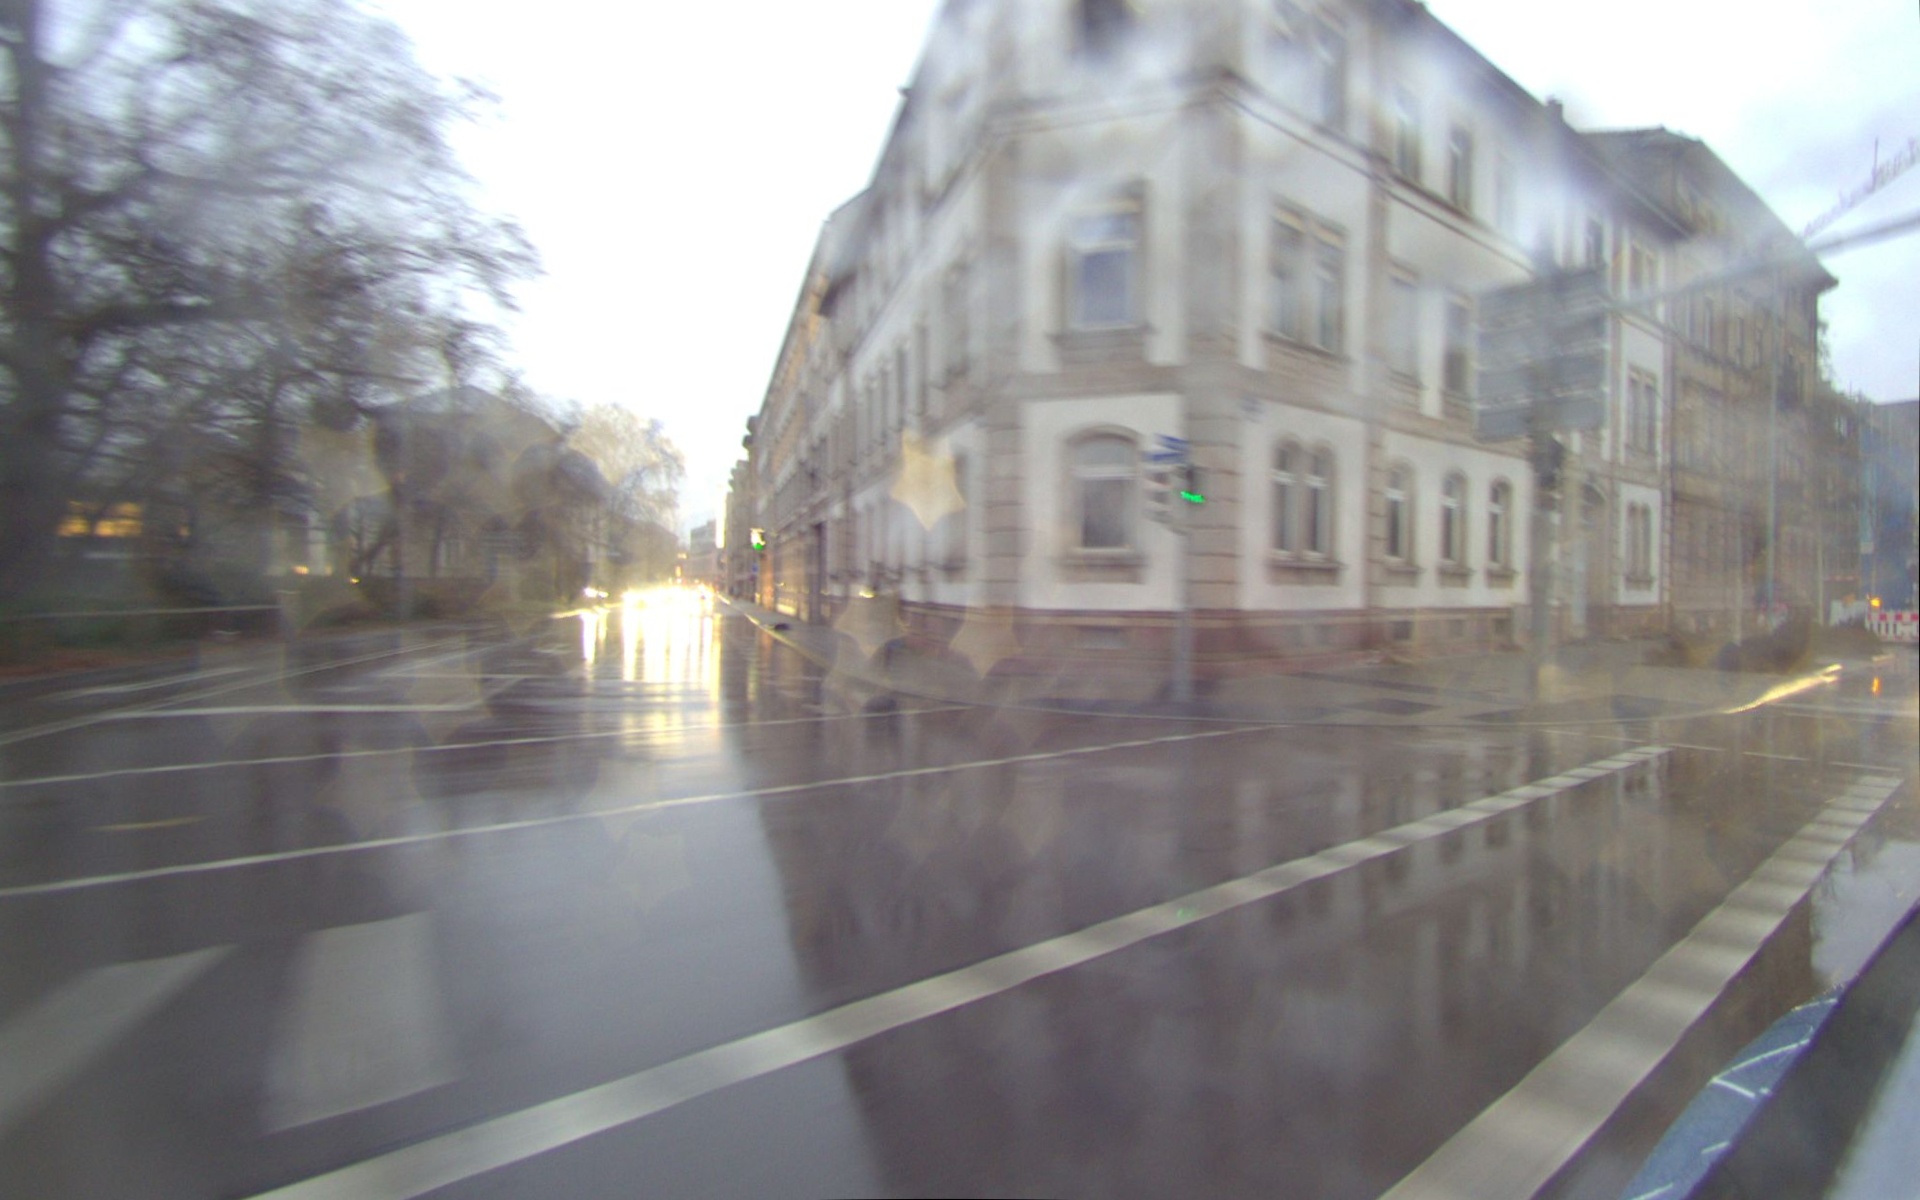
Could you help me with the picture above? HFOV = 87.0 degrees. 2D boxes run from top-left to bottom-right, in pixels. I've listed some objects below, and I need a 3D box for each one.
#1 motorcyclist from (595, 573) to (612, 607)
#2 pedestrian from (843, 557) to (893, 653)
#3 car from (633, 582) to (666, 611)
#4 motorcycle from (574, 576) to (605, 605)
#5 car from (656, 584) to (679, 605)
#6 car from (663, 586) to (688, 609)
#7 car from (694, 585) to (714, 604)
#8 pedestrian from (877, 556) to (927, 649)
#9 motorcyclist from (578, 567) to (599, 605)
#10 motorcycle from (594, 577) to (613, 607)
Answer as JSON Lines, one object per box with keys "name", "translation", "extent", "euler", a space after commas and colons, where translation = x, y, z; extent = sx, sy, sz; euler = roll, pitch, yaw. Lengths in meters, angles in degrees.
{"name": "motorcyclist", "translation": [-22.729, -0.636, 64.606], "extent": [0.928, 2.195, 1.198], "euler": [-1, 0, -17]}
{"name": "pedestrian", "translation": [-1.987, 0.108, 21.768], "extent": [0.849, 2.006, 0.980], "euler": [-1, 0, -18]}
{"name": "car", "translation": [-22.769, -0.231, 74.278], "extent": [1.958, 2.039, 4.007], "euler": [-1, 0, -12]}
{"name": "motorcycle", "translation": [-20.785, -0.524, 56.806], "extent": [0.929, 1.579, 3.531], "euler": [-1, 0, -9]}
{"name": "car", "translation": [-29.898, -0.551, 103.602], "extent": [1.958, 2.039, 4.007], "euler": [-1, 0, -12]}
{"name": "car", "translation": [-26.185, -0.222, 93.348], "extent": [1.958, 2.039, 4.007], "euler": [-1, 0, -12]}
{"name": "car", "translation": [-29.178, -0.597, 115.468], "extent": [1.958, 2.039, 4.007], "euler": [-1, 0, -12]}
{"name": "pedestrian", "translation": [-1.304, 0.047, 22.626], "extent": [0.849, 2.006, 0.980], "euler": [-1, 0, -18]}
{"name": "motorcyclist", "translation": [-20.768, -0.780, 56.619], "extent": [0.929, 2.080, 1.032], "euler": [-1, 0, -9]}
{"name": "motorcycle", "translation": [-22.731, -0.482, 64.569], "extent": [0.928, 1.868, 3.532], "euler": [-1, 0, -17]}
